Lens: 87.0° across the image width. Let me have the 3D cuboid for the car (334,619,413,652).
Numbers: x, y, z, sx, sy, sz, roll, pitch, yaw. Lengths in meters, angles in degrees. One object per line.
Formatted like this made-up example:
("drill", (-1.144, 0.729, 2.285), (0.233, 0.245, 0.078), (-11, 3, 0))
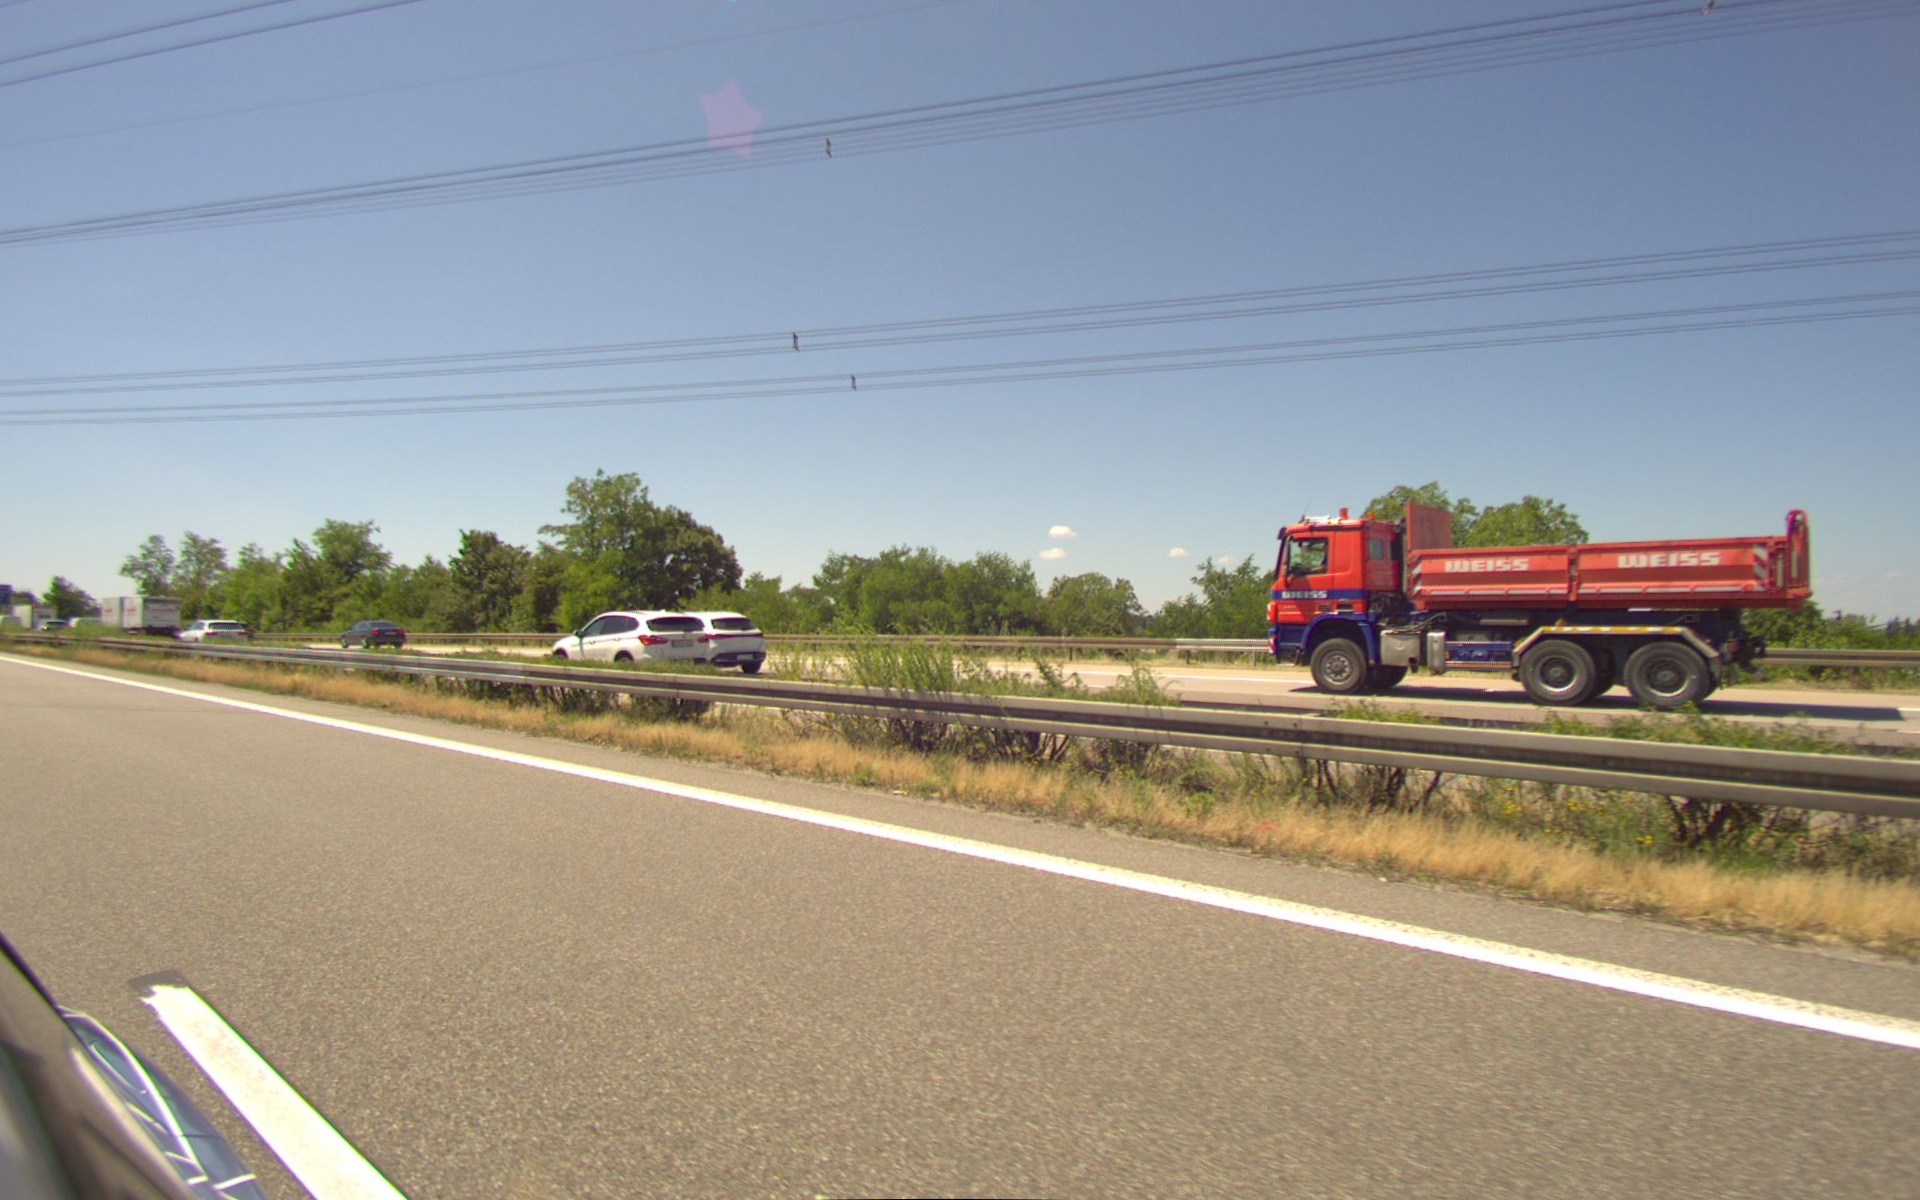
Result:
("car", (-31.218, 1.861, 53.825), (5.083, 1.674, 1.974), (-1, -2, 39))

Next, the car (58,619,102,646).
("car", (-71.075, 2.639, 81.696), (5.698, 2.029, 1.973), (-2, -1, 41))

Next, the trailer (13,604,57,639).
("trailer", (-117.639, 2.785, 128.576), (14.423, 4.322, 2.398), (-2, -1, 41))

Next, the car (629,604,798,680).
("car", (-6.400, 1.046, 26.013), (4.532, 1.774, 1.973), (-2, -1, 41))

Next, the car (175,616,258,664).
("car", (-33.427, 1.768, 45.454), (4.918, 2.029, 1.973), (-2, -1, 41))

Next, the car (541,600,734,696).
("car", (-7.121, 0.991, 22.124), (4.532, 1.867, 1.973), (-2, -1, 41))

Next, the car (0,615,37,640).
("car", (-104.726, 3.093, 112.391), (7.117, 2.599, 2.457), (-2, -1, 41))

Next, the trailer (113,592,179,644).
("trailer", (-68.800, 1.510, 85.492), (8.321, 4.196, 2.812), (-2, -1, 40))

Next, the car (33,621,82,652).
("car", (-62.434, 2.483, 70.002), (4.624, 2.029, 1.973), (-2, -1, 41))

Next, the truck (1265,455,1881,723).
("truck", (9.851, -0.104, 17.258), (8.529, 3.553, 2.741), (-1, 0, 41))

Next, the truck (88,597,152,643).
("truck", (-76.091, 1.861, 91.565), (10.585, 3.980, 2.664), (-2, -1, 40))
